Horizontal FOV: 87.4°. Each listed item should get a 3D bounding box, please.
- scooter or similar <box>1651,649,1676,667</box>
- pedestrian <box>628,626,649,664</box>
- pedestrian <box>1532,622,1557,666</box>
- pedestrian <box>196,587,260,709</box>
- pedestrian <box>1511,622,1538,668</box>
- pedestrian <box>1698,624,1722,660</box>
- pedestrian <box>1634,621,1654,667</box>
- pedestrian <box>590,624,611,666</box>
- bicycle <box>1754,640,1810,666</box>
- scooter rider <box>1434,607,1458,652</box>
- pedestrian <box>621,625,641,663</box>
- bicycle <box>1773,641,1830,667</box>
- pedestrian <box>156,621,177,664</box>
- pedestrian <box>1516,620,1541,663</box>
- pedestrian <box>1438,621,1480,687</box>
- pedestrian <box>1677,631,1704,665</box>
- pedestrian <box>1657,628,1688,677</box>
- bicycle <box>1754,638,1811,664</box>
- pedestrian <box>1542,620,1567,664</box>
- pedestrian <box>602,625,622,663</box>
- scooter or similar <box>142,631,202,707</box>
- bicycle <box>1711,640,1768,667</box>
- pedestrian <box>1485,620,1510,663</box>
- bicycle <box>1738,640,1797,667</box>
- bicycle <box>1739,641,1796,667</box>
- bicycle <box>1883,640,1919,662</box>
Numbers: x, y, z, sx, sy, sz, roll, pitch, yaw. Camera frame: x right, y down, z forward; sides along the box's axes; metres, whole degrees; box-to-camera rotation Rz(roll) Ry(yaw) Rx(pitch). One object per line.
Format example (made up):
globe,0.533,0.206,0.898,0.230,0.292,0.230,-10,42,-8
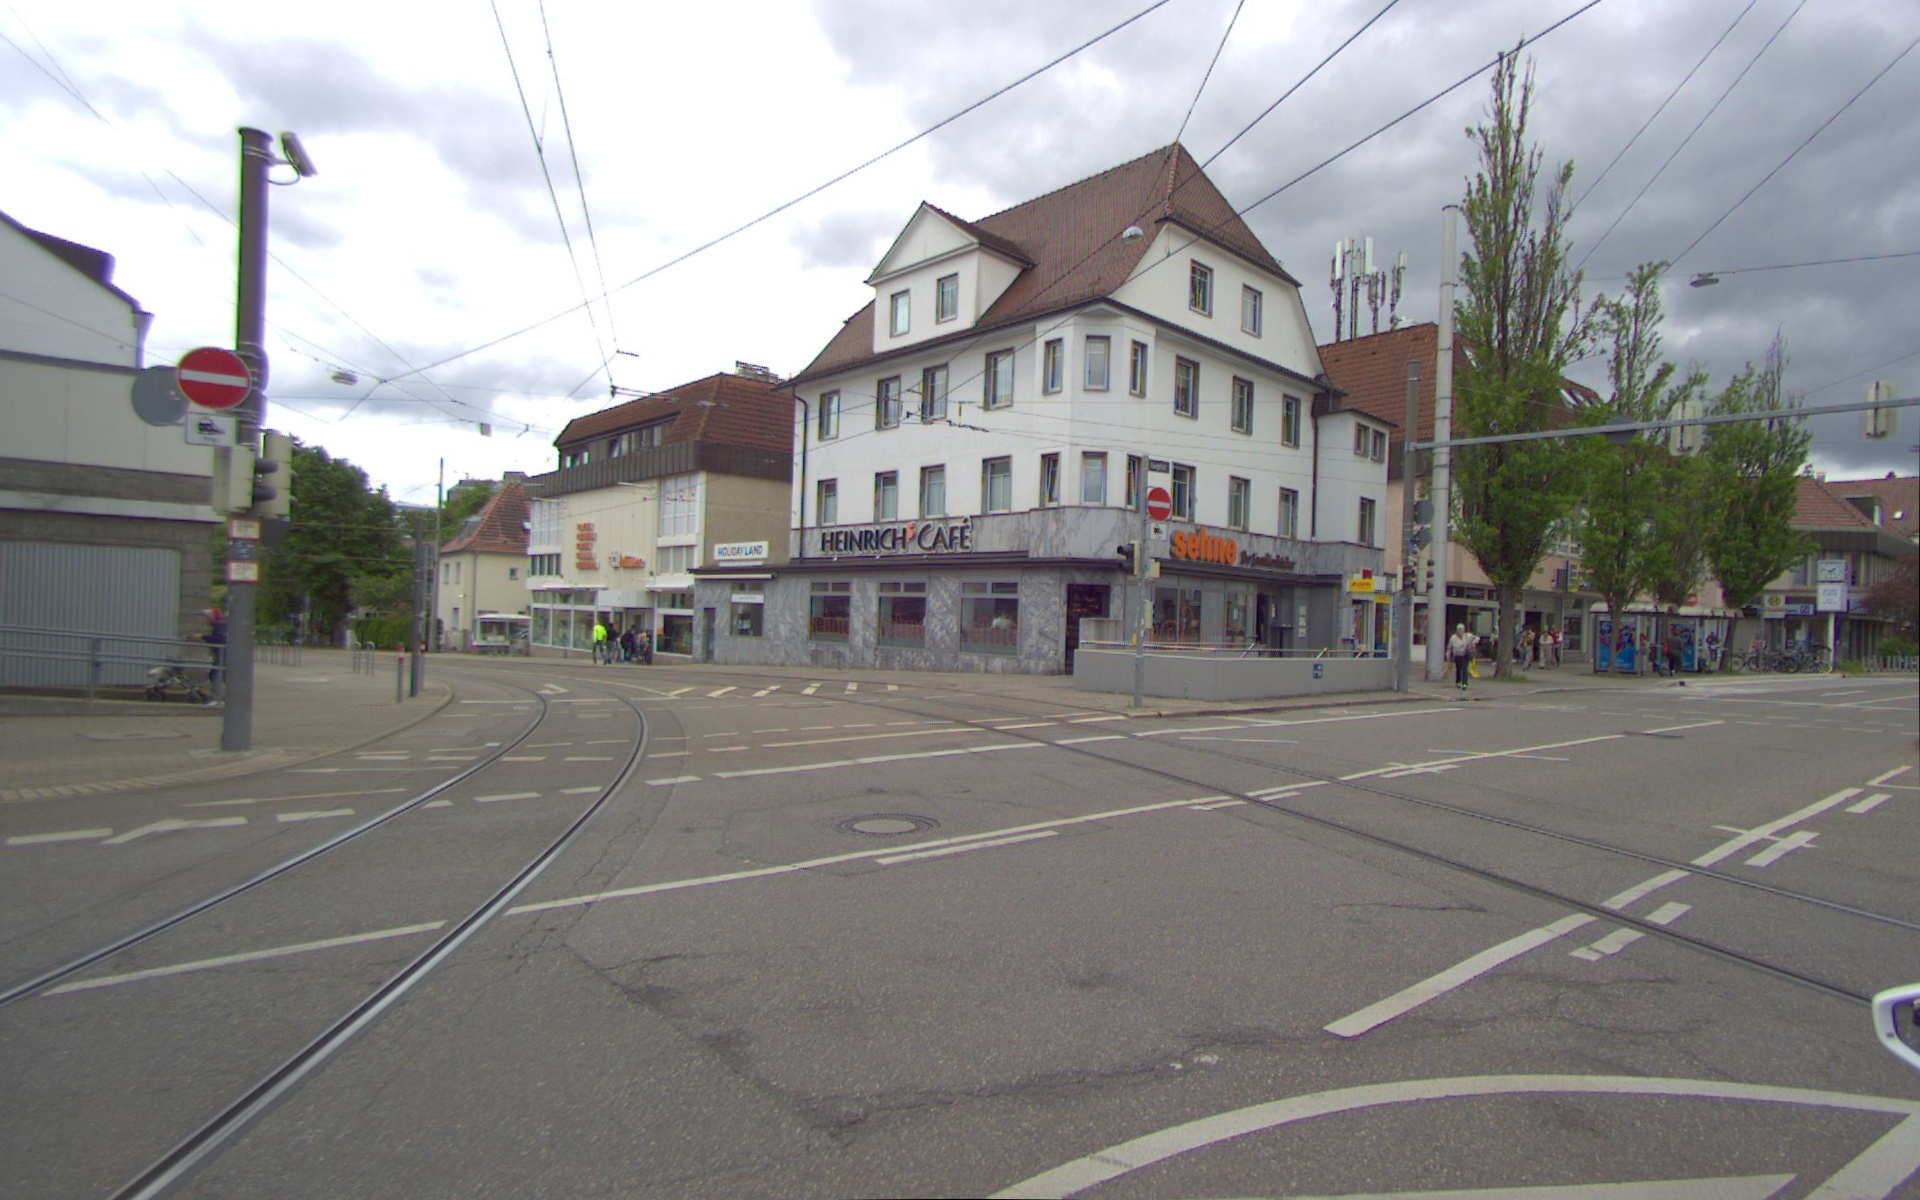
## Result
scooter or similar,26.424,2.179,37.730,0.696,0.609,0.587,2,0,-38
pedestrian,-14.330,1.994,44.777,0.578,1.656,0.613,5,3,32
pedestrian,22.861,1.723,39.281,0.610,1.656,0.581,1,3,-39
pedestrian,-10.255,0.669,14.075,0.609,1.655,0.582,5,-3,-37
pedestrian,20.871,1.651,37.167,0.610,1.656,0.581,1,3,-39
pedestrian,38.914,2.169,52.088,0.749,1.788,0.719,1,3,-39
pedestrian,25.855,1.664,37.970,0.578,1.674,0.712,2,1,35
pedestrian,-14.754,1.840,41.219,0.584,1.656,0.607,1,3,-43
bicycle,38.970,2.486,47.655,1.996,1.105,0.645,1,0,44
scooter rider,19.451,1.165,40.202,0.583,1.735,0.607,1,3,-40
pedestrian,-14.785,1.982,45.137,0.610,1.656,0.581,1,3,-42
bicycle,39.994,2.548,47.750,1.996,1.105,0.645,1,0,44
pedestrian,-32.489,1.729,41.104,0.610,1.656,0.686,1,3,-43
pedestrian,23.378,1.708,41.304,0.610,1.735,0.581,1,3,-39
pedestrian,13.026,1.391,26.219,0.610,1.656,0.693,1,3,-42
pedestrian,30.632,2.019,42.123,0.582,1.382,0.707,1,1,-35
pedestrian,25.441,1.868,35.880,0.705,1.674,0.584,1,1,-27
bicycle,38.535,2.387,47.088,1.996,1.105,0.645,1,0,44
pedestrian,24.254,1.725,40.969,0.610,1.735,0.581,1,3,-39
pedestrian,-15.505,1.958,44.787,0.610,1.656,0.581,1,3,-42
scooter or similar,-10.745,0.929,13.703,0.612,0.990,0.502,2,0,-40
bicycle,35.550,2.420,45.809,1.993,1.105,0.646,2,0,40
pedestrian,21.108,1.630,39.470,0.610,1.656,0.581,1,3,-39
bicycle,36.746,2.442,45.736,0.644,1.105,2.000,2,0,-41
bicycle,37.427,2.499,46.570,1.996,1.105,0.645,1,0,44
bicycle,51.520,2.780,54.589,1.996,1.105,0.645,1,0,44
